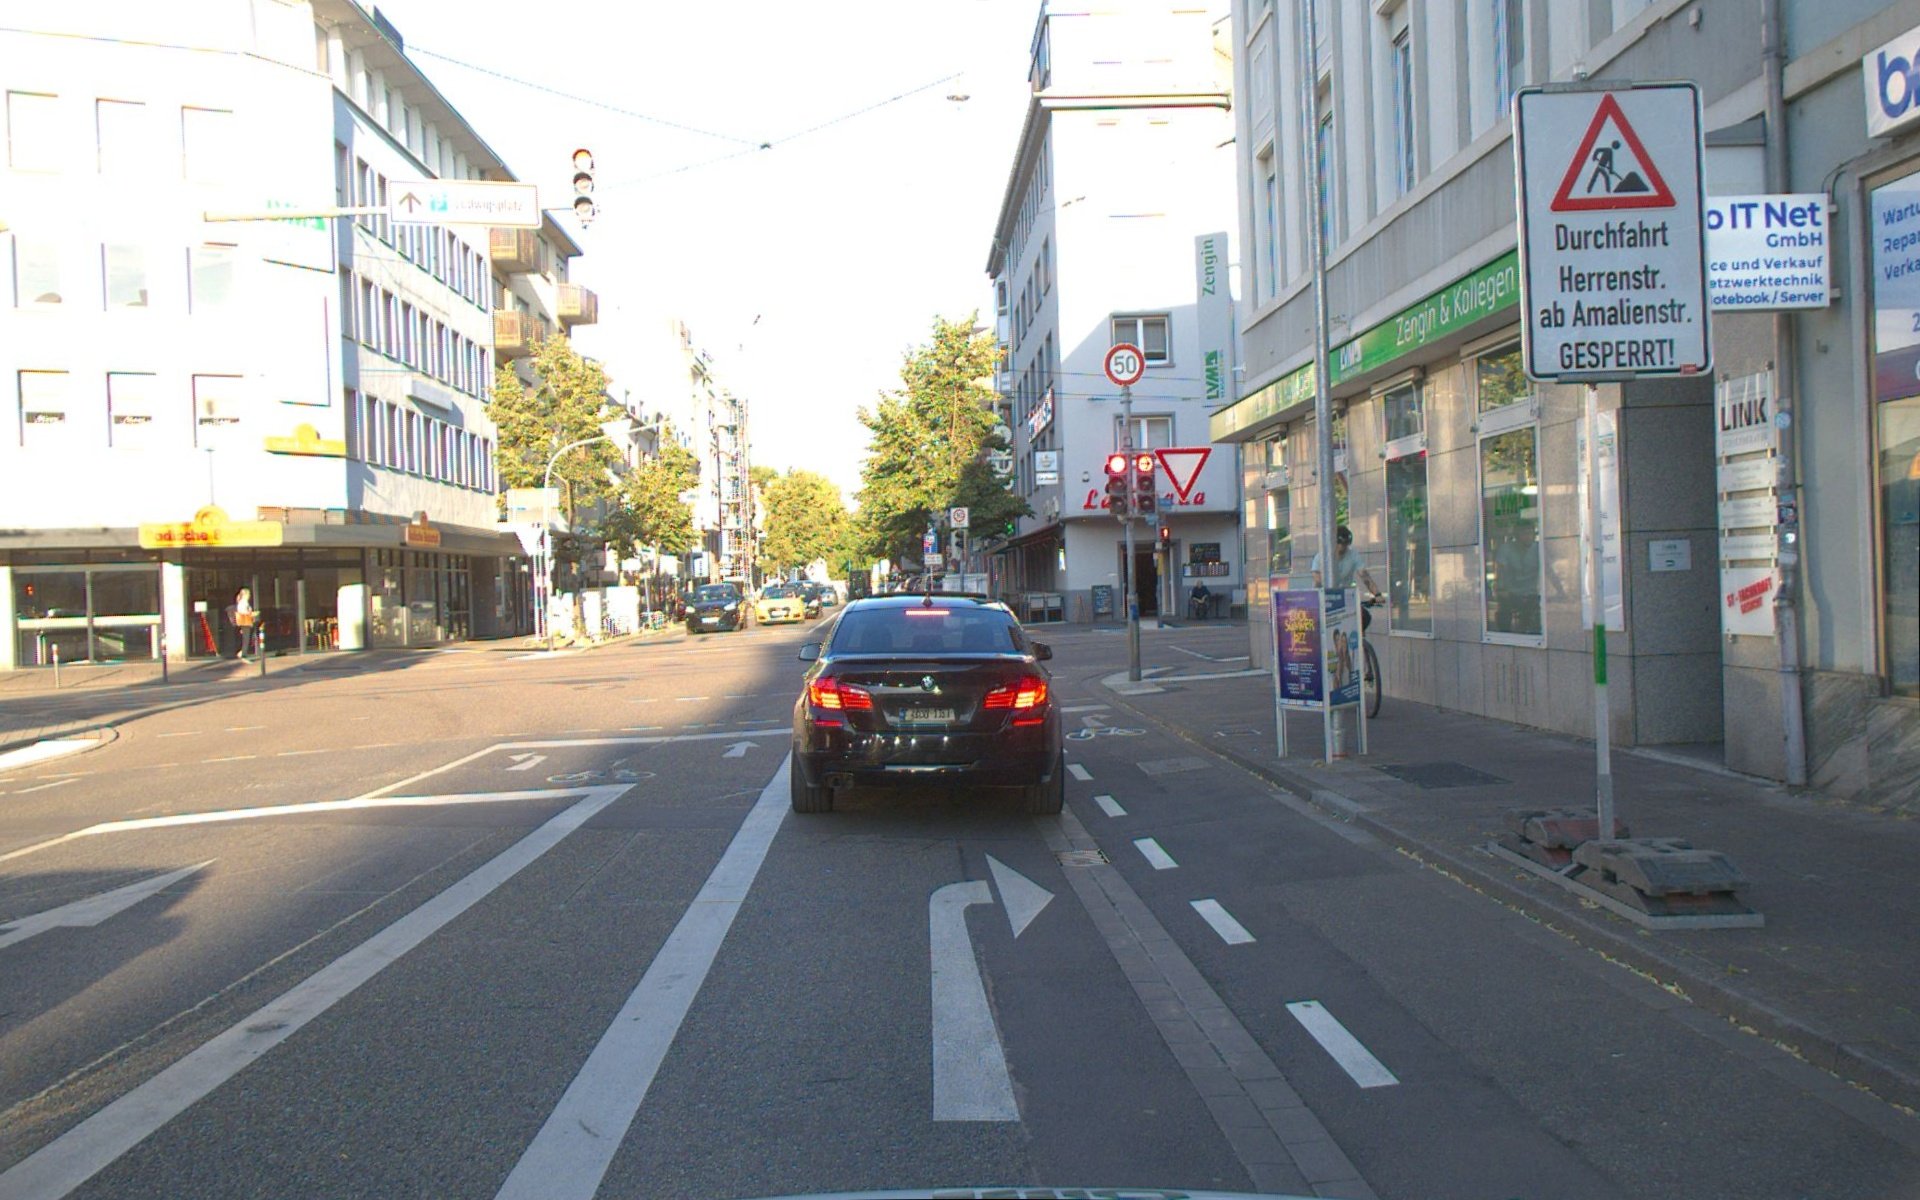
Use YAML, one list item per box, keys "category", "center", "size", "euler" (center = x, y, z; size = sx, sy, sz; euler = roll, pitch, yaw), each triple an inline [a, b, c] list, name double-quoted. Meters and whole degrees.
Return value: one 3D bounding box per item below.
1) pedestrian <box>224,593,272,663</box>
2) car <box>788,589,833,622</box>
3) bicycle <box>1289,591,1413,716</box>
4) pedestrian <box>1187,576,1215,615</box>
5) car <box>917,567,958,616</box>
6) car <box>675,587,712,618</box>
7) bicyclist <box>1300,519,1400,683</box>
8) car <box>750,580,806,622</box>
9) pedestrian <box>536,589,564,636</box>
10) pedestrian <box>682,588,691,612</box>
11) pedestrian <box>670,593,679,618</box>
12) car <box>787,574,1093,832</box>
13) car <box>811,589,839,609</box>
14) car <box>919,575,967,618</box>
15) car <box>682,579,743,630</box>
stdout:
- category: "pedestrian"
  center: [-16.585, 0.649, 38.526]
  size: [0.934, 1.564, 0.901]
  euler: [-2, 0, -26]
- category: "car"
  center: [-6.330, 0.213, 69.696]
  size: [1.701, 1.315, 3.993]
  euler: [-2, 1, -8]
- category: "bicycle"
  center: [3.791, 0.487, 16.177]
  size: [0.676, 1.126, 1.895]
  euler: [-2, 1, -2]
- category: "pedestrian"
  center: [7.543, -0.135, 51.824]
  size: [0.683, 1.177, 0.843]
  euler: [-2, 0, -4]
- category: "car"
  center: [-0.933, -0.348, 66.355]
  size: [1.393, 1.887, 3.049]
  euler: [-1, 0, -5]
- category: "car"
  center: [-13.541, 0.107, 84.122]
  size: [1.701, 1.487, 3.993]
  euler: [-2, 1, -8]
- category: "bicyclist"
  center: [3.787, 0.007, 16.120]
  size: [0.707, 1.534, 0.899]
  euler: [-2, 0, -1]
- category: "car"
  center: [-6.953, 0.013, 62.908]
  size: [1.956, 1.467, 3.993]
  euler: [-2, 1, -8]
- category: "pedestrian"
  center: [-15.491, 0.465, 62.445]
  size: [0.807, 1.705, 0.871]
  euler: [-2, 0, -3]
- category: "pedestrian"
  center: [-16.278, -0.011, 98.297]
  size: [0.435, 1.441, 0.525]
  euler: [-2, 0, -5]
- category: "pedestrian"
  center: [-16.769, 0.320, 97.140]
  size: [0.435, 1.441, 0.525]
  euler: [-2, 0, -5]
- category: "car"
  center: [-0.245, 0.613, 12.458]
  size: [1.866, 1.567, 4.447]
  euler: [1, 1, -3]
- category: "car"
  center: [-9.521, -0.077, 116.499]
  size: [1.701, 1.315, 3.993]
  euler: [-2, 1, -8]
- category: "car"
  center: [-0.634, -0.121, 59.884]
  size: [1.593, 1.497, 3.393]
  euler: [-1, 0, -3]
- category: "car"
  center: [-8.561, 0.138, 57.417]
  size: [1.956, 1.646, 3.993]
  euler: [-2, 1, -8]
